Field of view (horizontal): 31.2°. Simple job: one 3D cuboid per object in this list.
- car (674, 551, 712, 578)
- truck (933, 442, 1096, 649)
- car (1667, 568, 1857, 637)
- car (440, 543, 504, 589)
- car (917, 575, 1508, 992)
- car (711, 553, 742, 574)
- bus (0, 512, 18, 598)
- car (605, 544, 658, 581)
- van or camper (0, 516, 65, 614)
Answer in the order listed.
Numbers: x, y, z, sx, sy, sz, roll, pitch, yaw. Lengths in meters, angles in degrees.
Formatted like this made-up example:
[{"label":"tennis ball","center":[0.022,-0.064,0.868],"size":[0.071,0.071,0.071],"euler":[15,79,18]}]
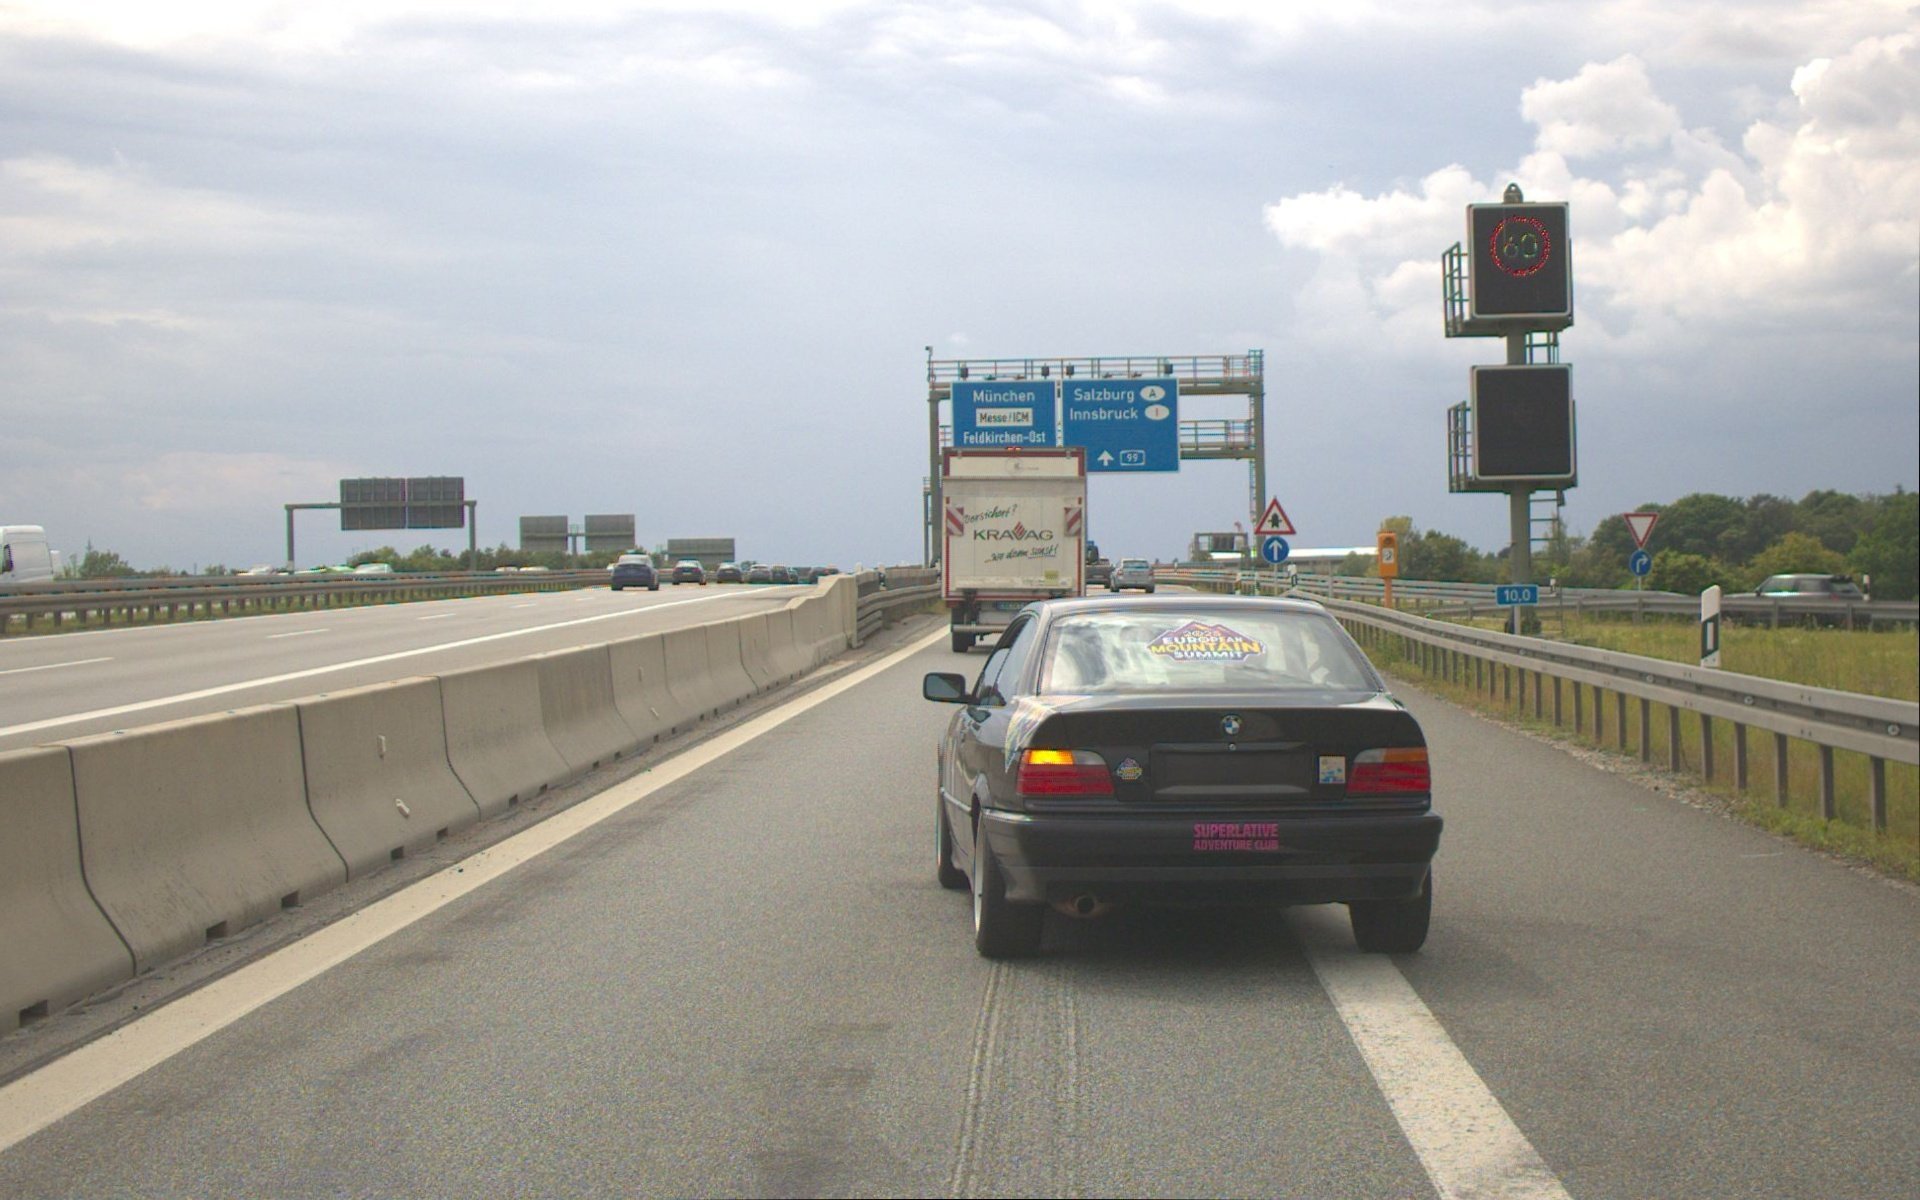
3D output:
[{"label":"car","center":[-15.638,-2.092,201.436],"size":[1.993,1.536,4.000],"euler":[0,1,-2]},{"label":"truck","center":[0.859,-0.861,54.781],"size":[2.404,3.079,6.370],"euler":[1,1,1]},{"label":"car","center":[19.085,0.052,81.896],"size":[1.994,1.547,3.999],"euler":[1,1,-39]},{"label":"car","center":[-18.230,-1.279,128.593],"size":[1.667,1.700,4.000],"euler":[1,1,2]},{"label":"car","center":[0.840,0.615,13.790],"size":[1.782,1.373,4.137],"euler":[1,1,-4]},{"label":"car","center":[-16.297,-2.557,240.272],"size":[1.993,1.393,4.000],"euler":[0,1,-2]},{"label":"bus","center":[-40.136,-1.780,134.080],"size":[3.214,3.431,12.993],"euler":[1,1,0]},{"label":"car","center":[-14.859,-1.714,155.624],"size":[1.993,1.656,4.384],"euler":[0,1,-1]},{"label":"van or camper","center":[-26.685,-0.989,95.091],"size":[2.186,2.610,6.905],"euler":[0,1,-1]}]
